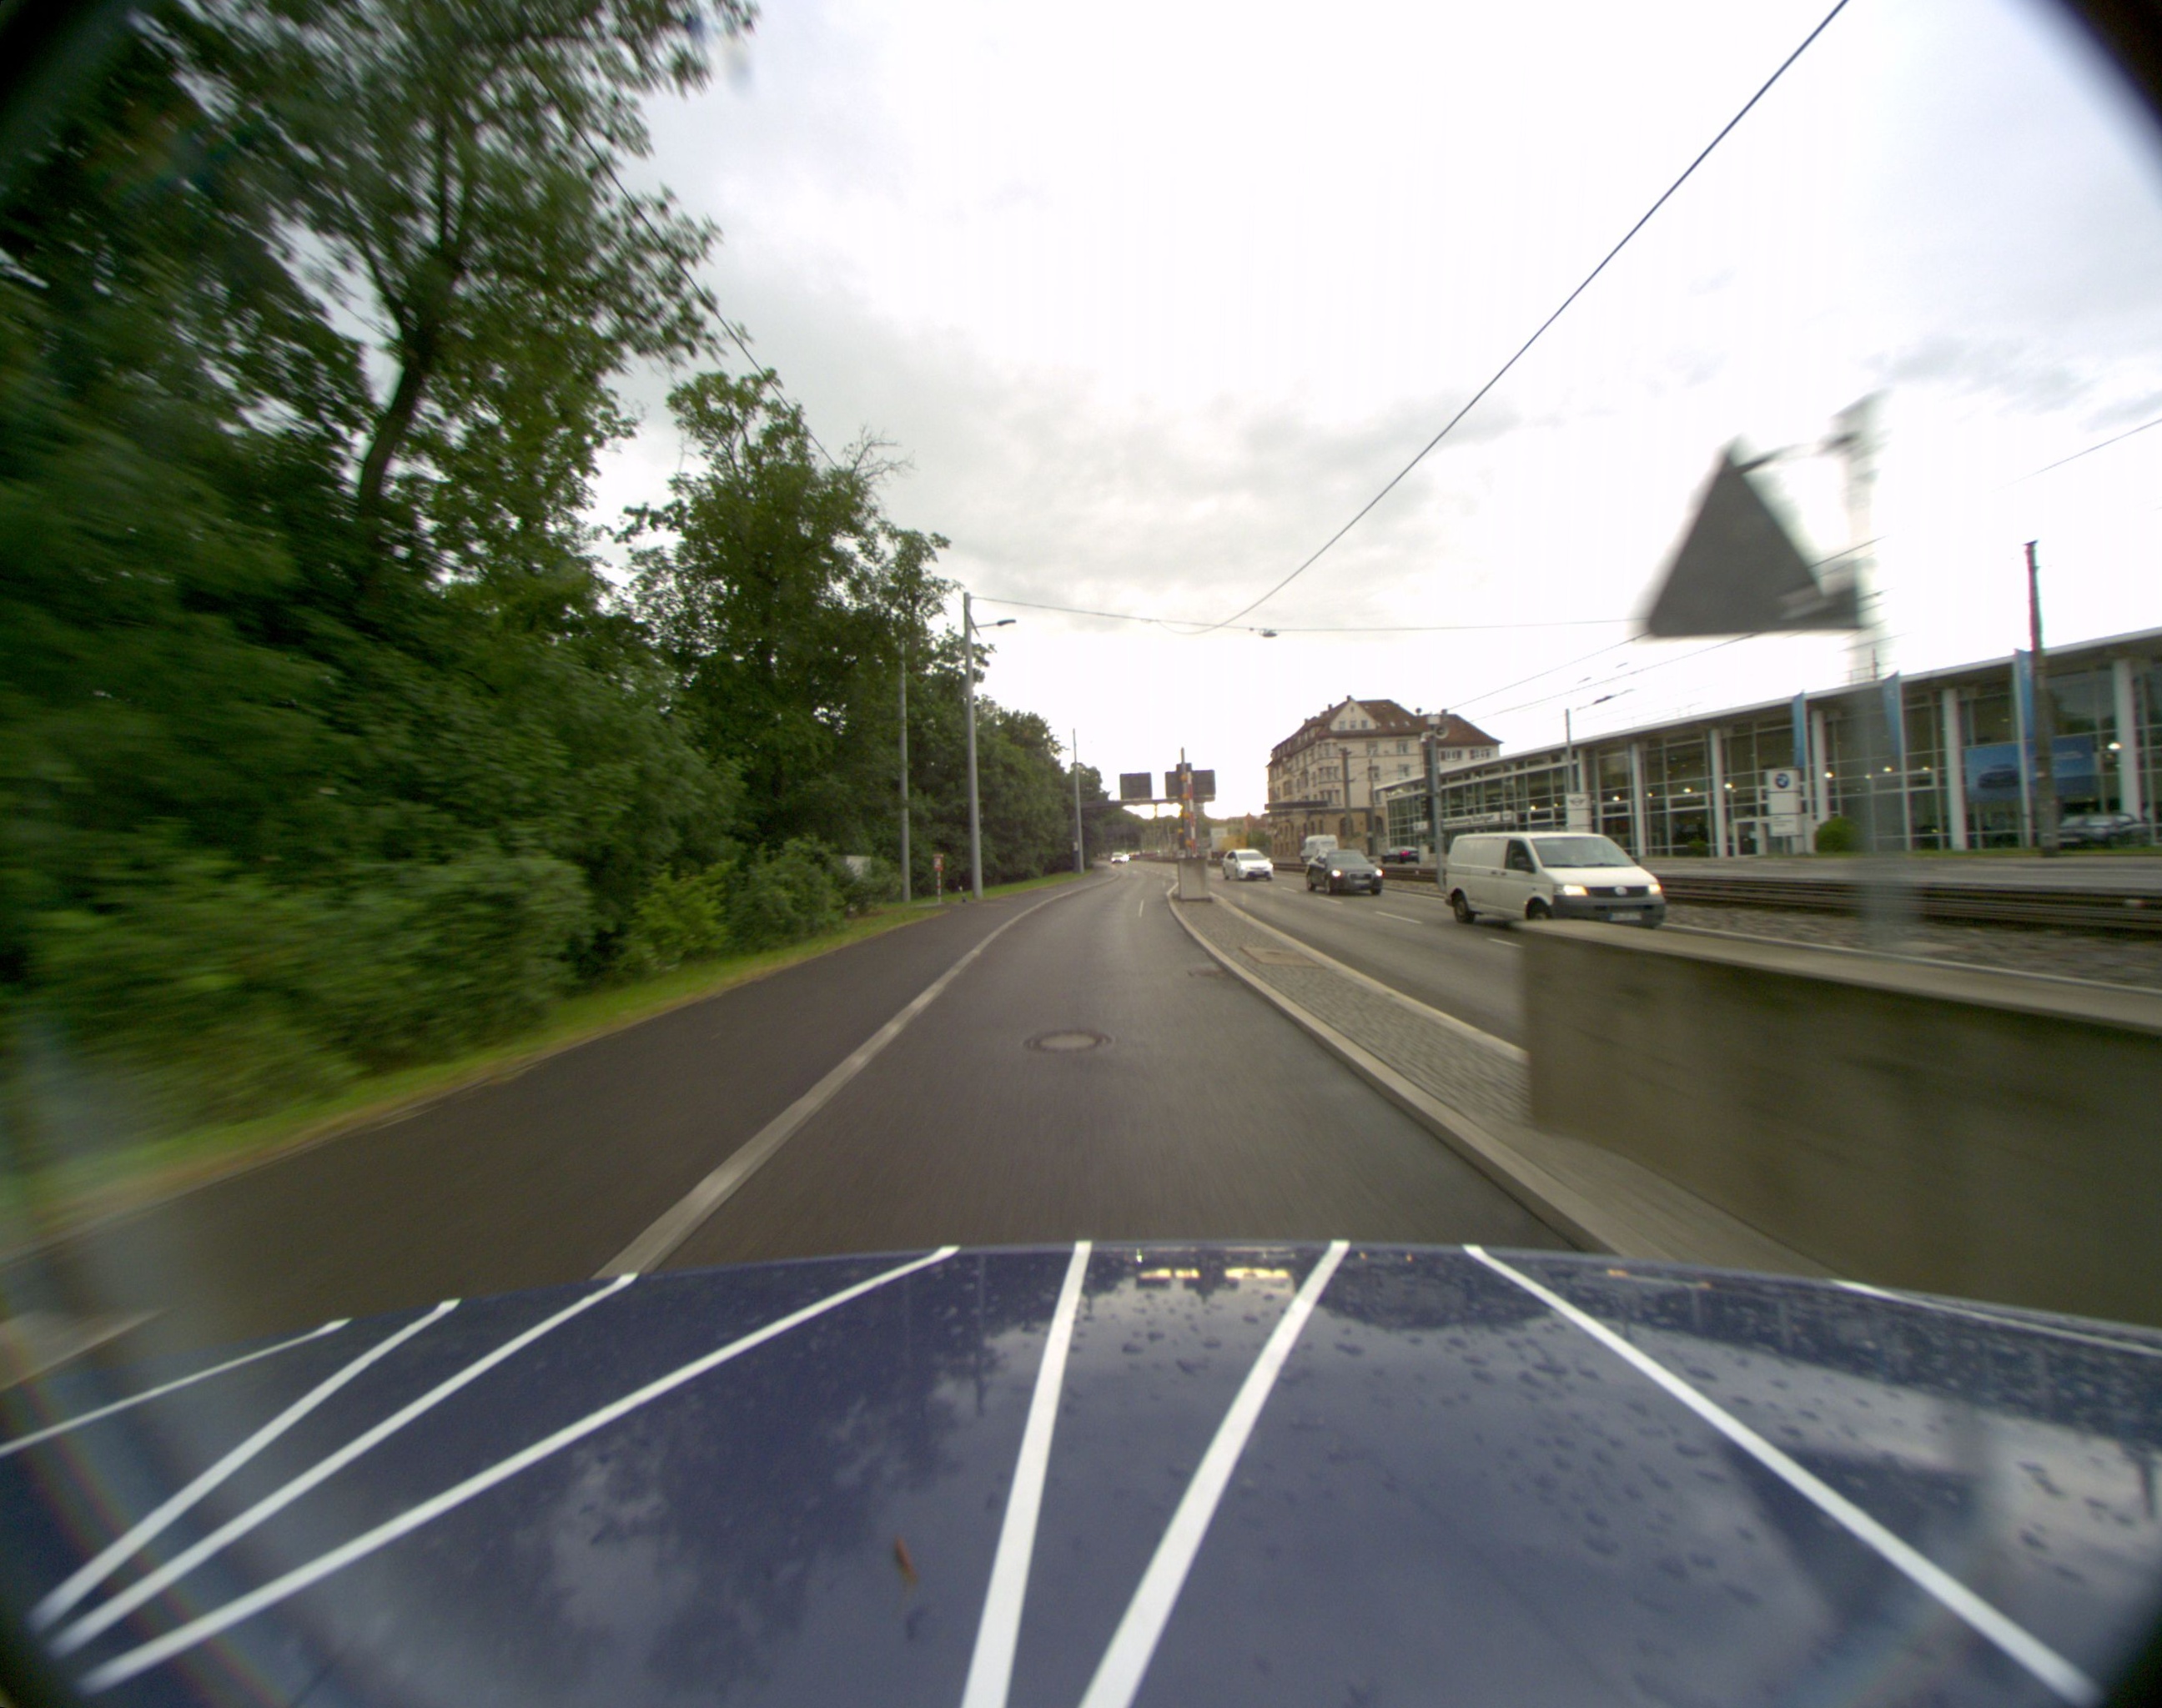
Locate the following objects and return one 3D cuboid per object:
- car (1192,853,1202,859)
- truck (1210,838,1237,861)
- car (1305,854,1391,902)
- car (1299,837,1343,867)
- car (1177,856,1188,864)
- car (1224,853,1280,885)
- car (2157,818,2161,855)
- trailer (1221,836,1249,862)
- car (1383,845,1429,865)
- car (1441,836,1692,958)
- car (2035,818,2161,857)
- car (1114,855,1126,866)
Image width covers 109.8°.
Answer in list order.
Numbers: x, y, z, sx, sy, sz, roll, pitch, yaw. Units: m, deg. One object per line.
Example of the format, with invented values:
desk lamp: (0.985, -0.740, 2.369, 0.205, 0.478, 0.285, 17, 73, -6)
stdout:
car: (27.986, 0.503, 183.365, 1.610, 1.425, 4.332, -2, 0, 0)
truck: (25.443, -0.786, 135.992, 2.690, 4.028, 10.142, -1, 0, 0)
car: (9.426, 0.797, 27.169, 1.708, 1.564, 3.896, -1, 0, 0)
car: (22.461, -0.201, 71.296, 2.056, 2.583, 6.164, -2, 0, 0)
car: (25.376, 1.478, 189.346, 1.999, 1.863, 5.193, -2, 0, 0)
car: (8.867, 0.758, 39.809, 1.982, 1.564, 4.319, -1, 0, 0)
car: (38.618, -0.665, 25.605, 4.003, 1.228, 1.757, -2, 1, -20)
trailer: (25.522, -0.801, 126.454, 2.690, 4.028, 9.082, -1, 0, 0)
car: (25.581, 0.068, 60.024, 1.746, 1.506, 4.340, -2, 0, 0)
car: (9.097, 0.711, 14.846, 1.914, 1.947, 4.718, -2, 0, 1)
car: (38.093, -0.618, 28.457, 4.003, 1.227, 1.701, -2, -2, -20)
car: (6.201, 1.000, 121.371, 1.710, 1.585, 4.000, -2, 0, 1)
